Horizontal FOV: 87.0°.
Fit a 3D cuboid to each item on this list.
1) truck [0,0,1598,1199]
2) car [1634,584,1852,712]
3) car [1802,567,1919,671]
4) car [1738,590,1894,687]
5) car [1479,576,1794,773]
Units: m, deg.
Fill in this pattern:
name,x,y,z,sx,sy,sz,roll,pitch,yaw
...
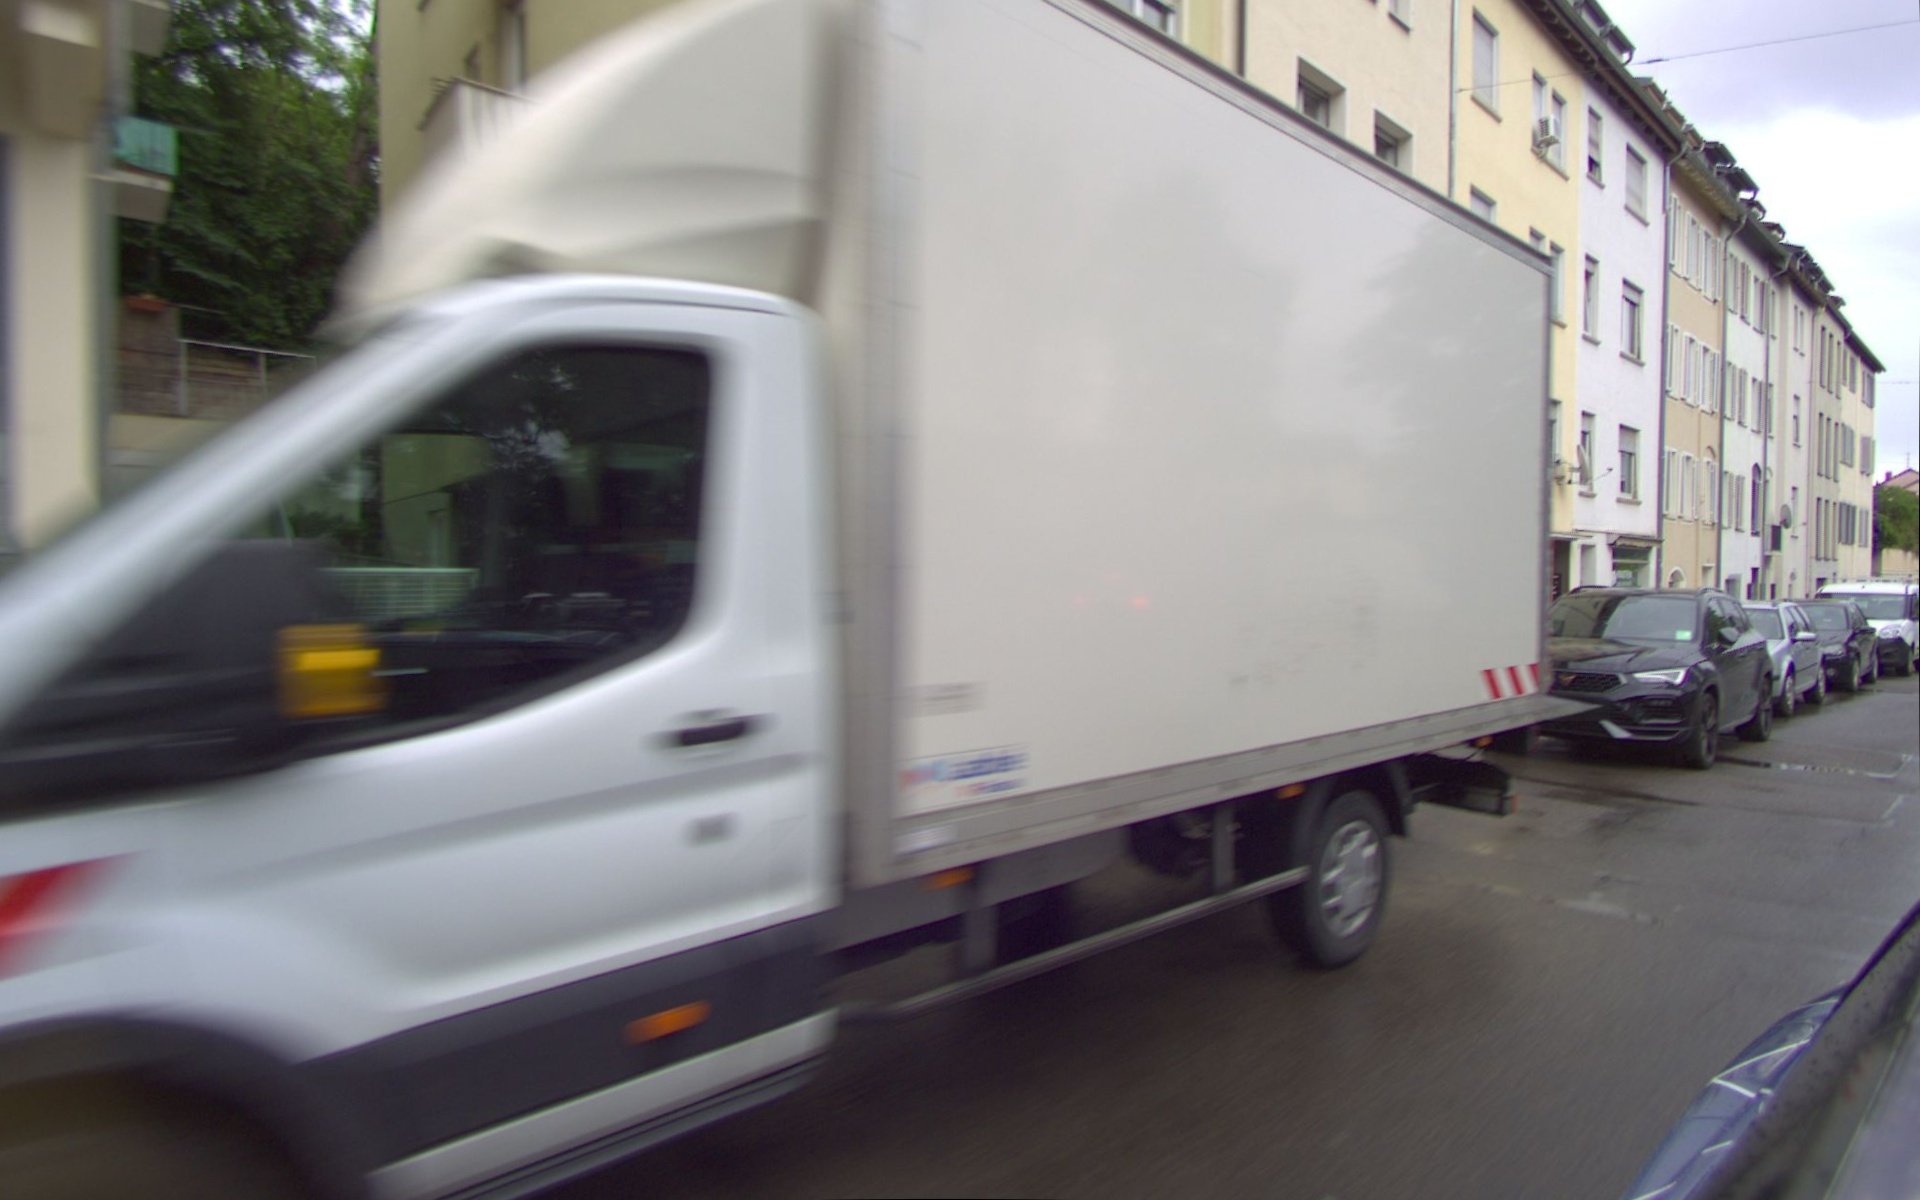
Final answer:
name,x,y,z,sx,sy,sz,roll,pitch,yaw
truck,-0.118,-0.262,3.902,6.913,3.212,2.474,0,1,-41
car,10.931,0.582,14.032,4.026,1.519,1.666,1,0,-42
car,19.110,0.358,20.970,4.163,1.948,1.821,1,0,-40
car,14.700,0.601,17.332,3.441,1.489,1.579,1,0,-42
car,6.920,0.606,10.187,4.026,1.593,1.666,1,0,-42
